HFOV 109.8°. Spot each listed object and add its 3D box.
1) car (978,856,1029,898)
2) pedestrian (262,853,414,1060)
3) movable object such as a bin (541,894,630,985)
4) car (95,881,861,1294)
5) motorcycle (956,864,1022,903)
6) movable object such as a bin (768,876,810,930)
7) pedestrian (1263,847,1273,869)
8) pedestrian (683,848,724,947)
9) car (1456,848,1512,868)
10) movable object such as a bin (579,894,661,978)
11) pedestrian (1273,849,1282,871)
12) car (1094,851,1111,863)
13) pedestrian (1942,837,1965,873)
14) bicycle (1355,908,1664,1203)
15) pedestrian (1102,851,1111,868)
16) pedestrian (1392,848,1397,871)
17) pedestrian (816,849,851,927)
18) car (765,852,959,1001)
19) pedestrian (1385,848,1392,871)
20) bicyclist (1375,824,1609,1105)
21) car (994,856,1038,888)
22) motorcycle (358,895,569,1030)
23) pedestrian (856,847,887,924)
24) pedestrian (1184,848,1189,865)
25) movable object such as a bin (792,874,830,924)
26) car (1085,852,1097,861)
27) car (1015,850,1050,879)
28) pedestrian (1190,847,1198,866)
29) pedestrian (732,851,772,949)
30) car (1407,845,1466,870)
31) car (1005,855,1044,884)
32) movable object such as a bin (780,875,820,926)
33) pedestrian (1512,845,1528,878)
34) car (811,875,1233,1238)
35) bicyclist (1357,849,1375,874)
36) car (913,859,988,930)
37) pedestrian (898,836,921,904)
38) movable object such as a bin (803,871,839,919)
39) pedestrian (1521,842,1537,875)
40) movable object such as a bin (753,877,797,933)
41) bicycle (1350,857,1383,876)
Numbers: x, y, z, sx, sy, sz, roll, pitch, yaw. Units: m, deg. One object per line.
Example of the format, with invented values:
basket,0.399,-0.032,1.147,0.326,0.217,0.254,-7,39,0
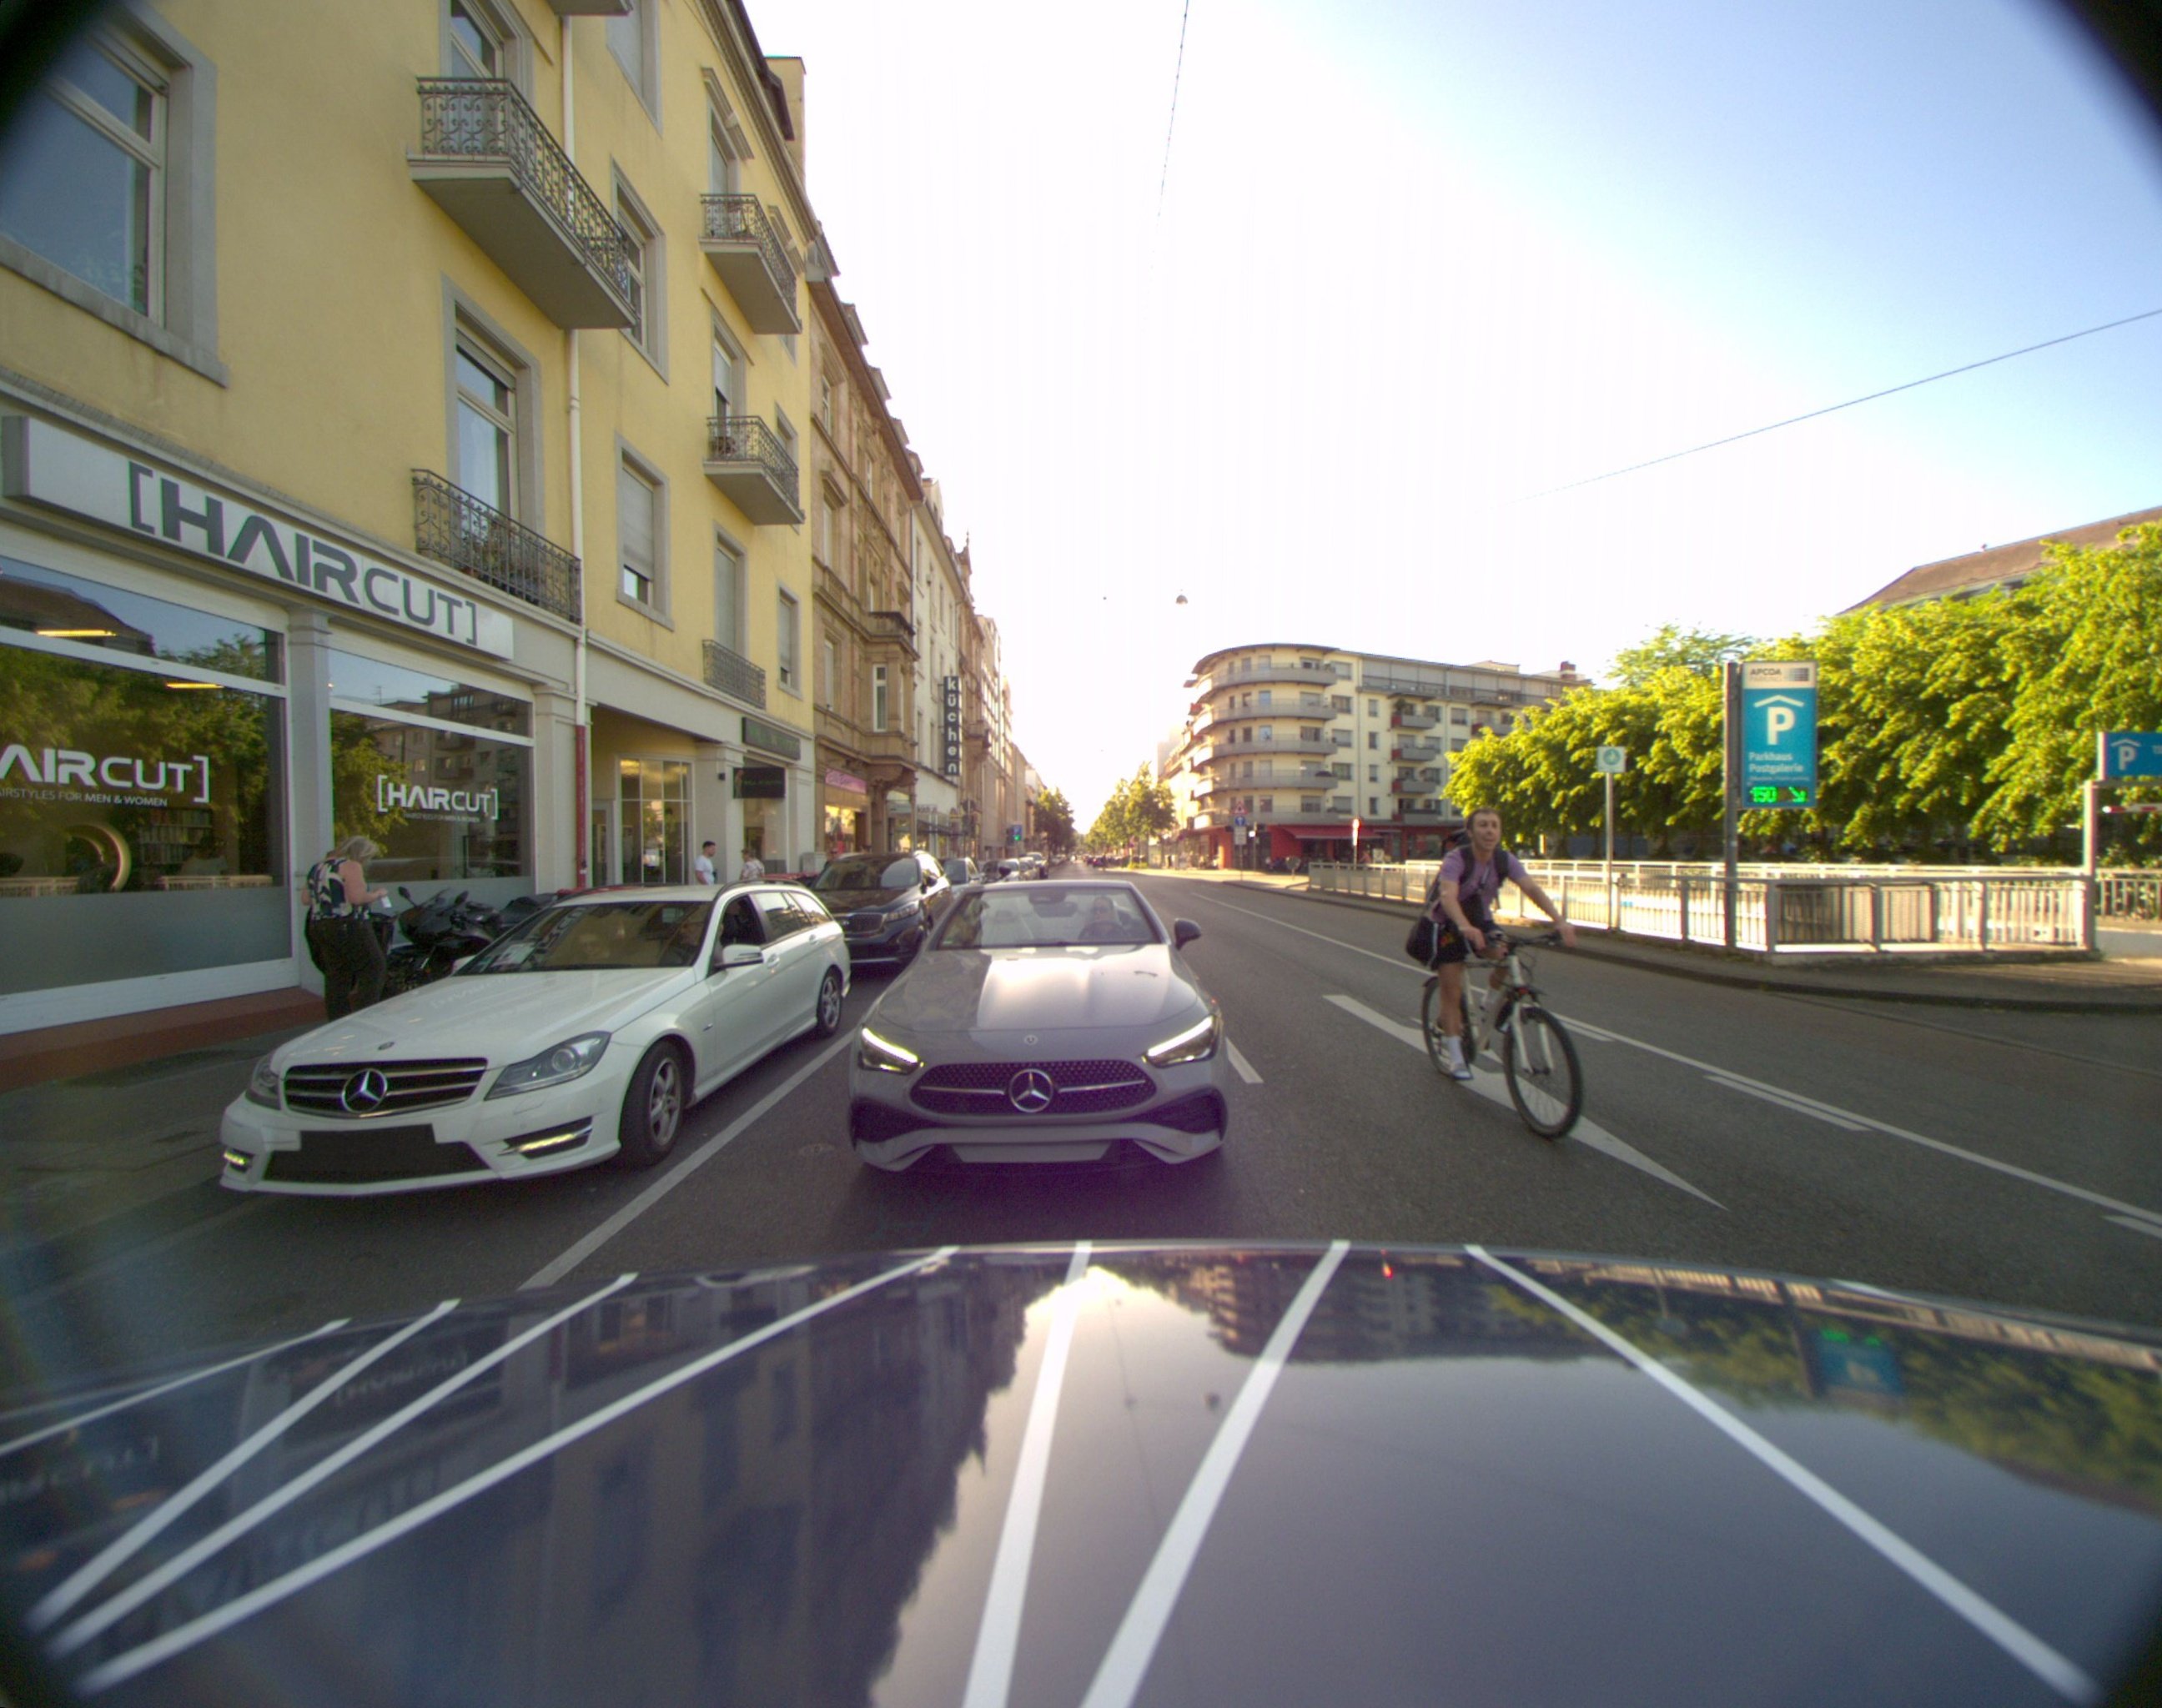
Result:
car,-3.044,0.858,30.615,1.737,1.509,4.164,-1,0,-2
pedestrian,-6.034,0.802,6.200,0.698,1.623,0.532,0,1,-2
movable object such as a bin,-6.109,1.042,9.397,0.661,1.035,0.619,2,1,3
car,-3.060,1.019,5.286,1.743,1.438,4.463,-1,0,0
motorcycle,-3.198,1.002,26.549,2.178,1.272,0.866,-2,1,-42
movable object such as a bin,-6.087,1.008,15.841,0.606,1.060,0.619,2,1,0
pedestrian,14.766,0.320,60.033,0.575,1.698,0.642,-1,1,3
pedestrian,-6.460,0.729,13.011,0.337,1.651,0.525,1,1,22
car,34.276,0.323,64.679,4.300,1.611,1.951,-2,1,-24
movable object such as a bin,-6.081,1.067,10.042,0.669,1.019,0.619,2,1,3
pedestrian,15.361,0.456,59.386,0.575,1.698,0.642,-1,1,3
car,2.527,0.373,91.031,1.806,1.388,3.926,-1,0,-1
pedestrian,43.489,0.053,37.873,0.602,1.782,0.581,-2,1,-20
bicycle,2.316,1.004,4.423,0.798,1.226,1.773,-1,0,1
pedestrian,2.322,0.500,69.321,0.774,1.606,0.696,-1,1,-3
pedestrian,22.740,0.365,55.054,0.270,1.658,0.362,-1,1,32
pedestrian,-5.288,0.720,16.243,0.619,1.623,0.462,-2,1,-14
car,-2.980,0.858,11.374,1.760,1.726,4.571,-1,0,-3
pedestrian,22.208,0.384,54.881,0.322,1.658,0.362,-1,1,32
bicyclist,2.311,0.568,4.409,0.798,1.426,1.008,-1,1,1
car,-3.076,0.842,36.754,1.737,1.409,3.802,-1,0,0
motorcycle,-6.215,1.031,7.826,0.551,1.085,2.009,0,0,-1
pedestrian,-4.572,0.677,16.577,0.516,1.623,0.413,-2,1,-30
pedestrian,9.483,0.241,68.305,0.376,1.521,0.516,-2,1,-3
movable object such as a bin,-6.065,1.007,17.089,0.606,1.060,0.619,2,1,0
car,1.581,0.362,124.719,1.895,1.388,4.255,-1,0,-1
car,-3.006,0.632,47.724,1.895,1.680,4.049,-1,0,0
pedestrian,10.123,0.220,68.174,0.570,1.612,0.793,-2,1,-3
pedestrian,-5.694,0.773,13.148,0.594,1.651,0.450,0,1,-31
car,29.275,0.245,62.533,4.432,1.901,1.951,-2,1,-24
car,-2.999,0.808,41.094,1.737,1.409,3.802,-1,0,0
movable object such as a bin,-6.076,1.001,16.456,0.606,1.060,0.619,2,1,0
pedestrian,24.351,0.407,42.141,0.602,1.782,0.581,-3,2,-45
car,-0.253,0.966,5.577,1.848,1.440,4.373,-1,0,0
bicyclist,19.173,0.497,51.119,0.973,1.605,0.715,-1,1,40
car,-3.027,0.894,18.006,1.275,1.509,2.794,-1,0,-1
pedestrian,-4.502,0.422,19.944,0.434,1.752,0.481,-2,1,1
movable object such as a bin,-6.063,0.952,17.753,0.606,1.060,0.619,2,1,0
pedestrian,25.040,0.242,42.469,0.602,1.782,0.581,-3,2,-45
movable object such as a bin,-6.111,1.016,15.194,0.606,1.060,0.619,2,1,0
bicycle,19.199,0.834,51.115,1.868,1.205,0.715,-1,1,43
